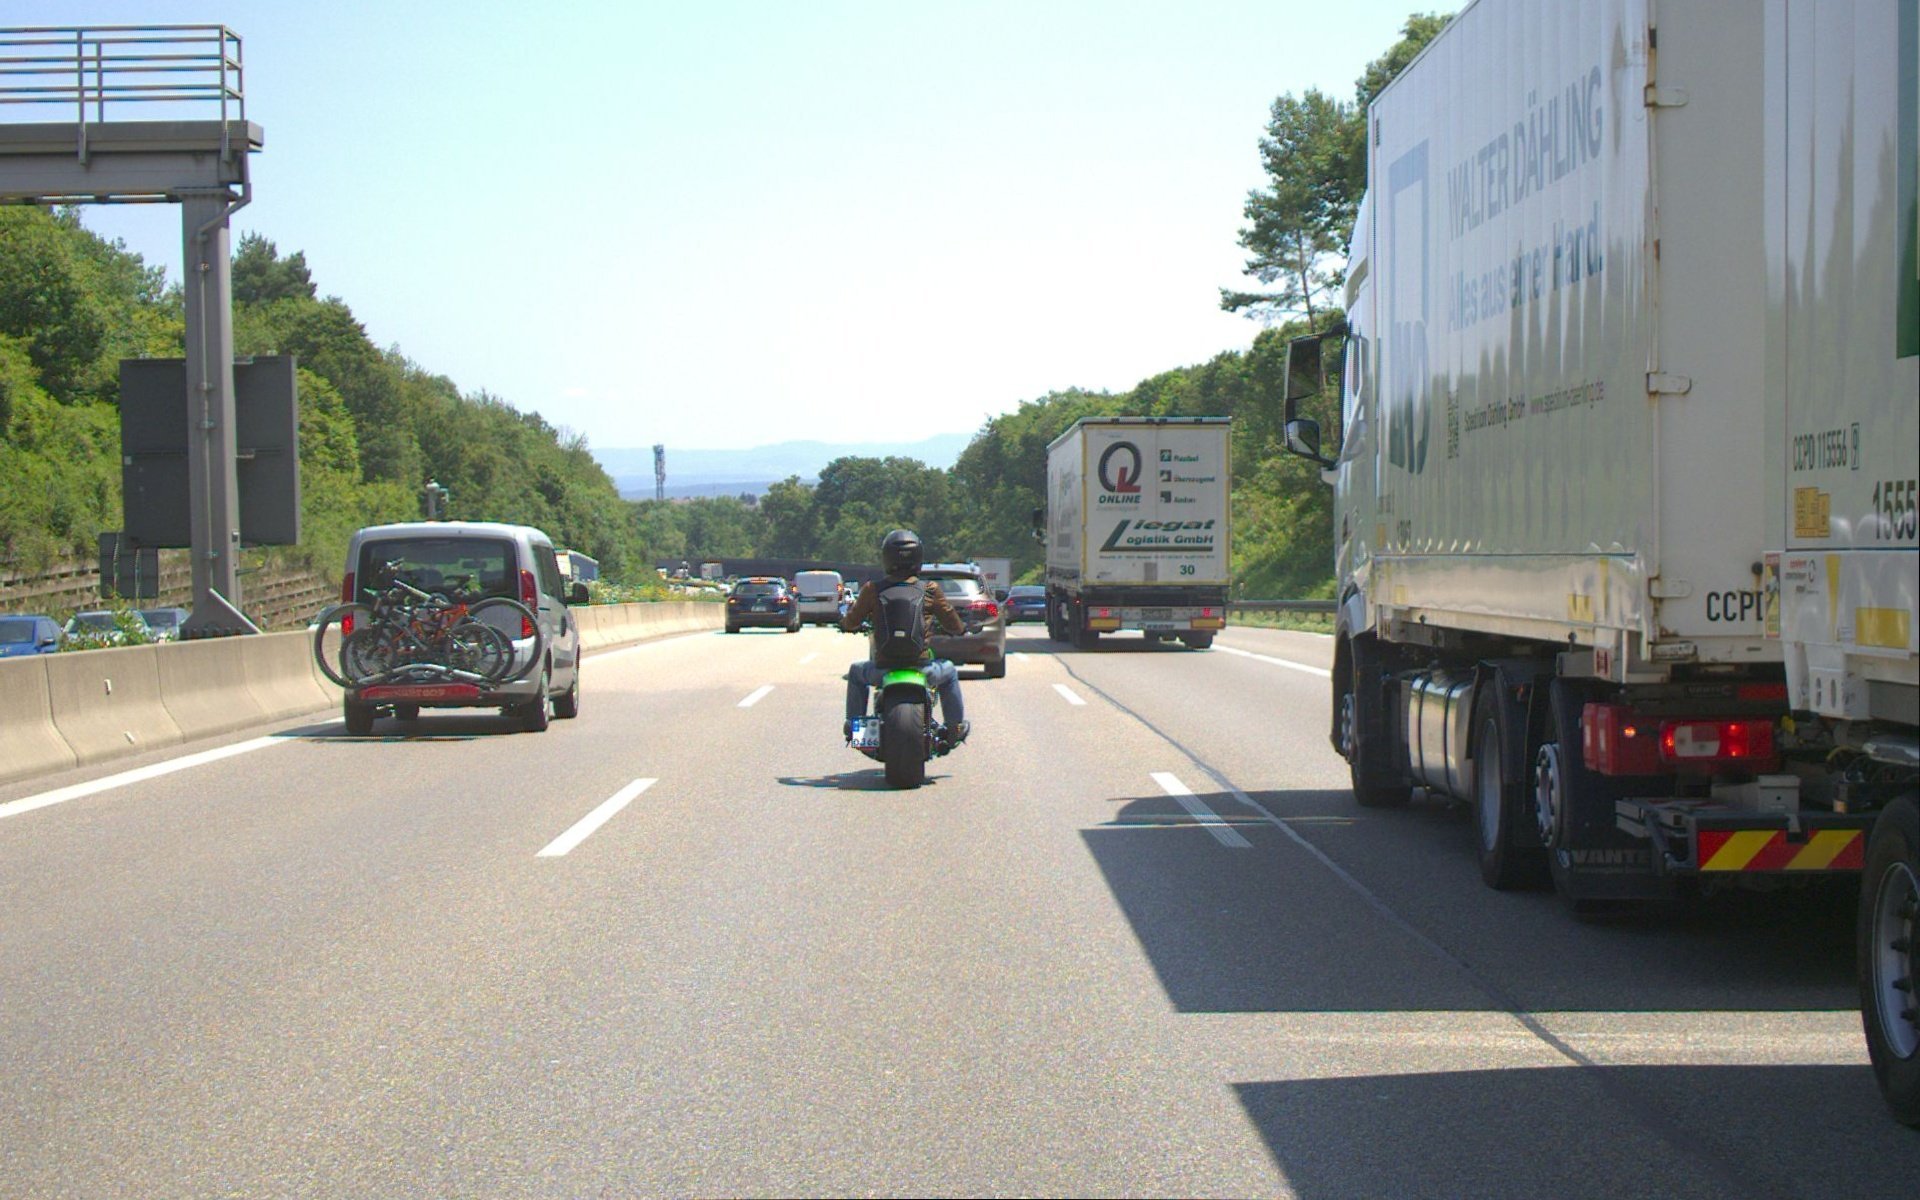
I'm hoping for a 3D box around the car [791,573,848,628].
[{"bbox_3d":[-4.786,-0.010,117.444,1.831,1.804,4.120,0,1,-1],"label":"car"}]

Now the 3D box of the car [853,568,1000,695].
[{"bbox_3d":[-0.458,0.381,45.537,1.845,1.552,4.440,0,1,-1],"label":"car"}]

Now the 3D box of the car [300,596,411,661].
[{"bbox_3d":[-15.717,0.716,89.682,1.961,1.490,5.888,-2,1,-2],"label":"car"}]

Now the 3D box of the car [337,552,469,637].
[{"bbox_3d":[-12.098,-0.154,75.037,1.997,1.681,5.996,-2,1,-2],"label":"car"}]

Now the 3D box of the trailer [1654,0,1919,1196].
[{"bbox_3d":[3.704,-0.607,6.316,2.680,4.161,10.066,0,1,-1],"label":"trailer"}]

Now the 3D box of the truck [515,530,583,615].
[{"bbox_3d":[-20.101,-1.352,168.436,2.680,4.017,5.931,-1,1,-1],"label":"truck"}]

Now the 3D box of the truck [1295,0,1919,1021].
[{"bbox_3d":[3.559,-0.686,16.743,2.680,4.046,10.626,0,1,-1],"label":"truck"}]

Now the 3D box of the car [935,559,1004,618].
[{"bbox_3d":[0.241,-0.336,94.986,1.831,1.553,4.120,0,1,-1],"label":"car"}]

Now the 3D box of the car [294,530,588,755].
[{"bbox_3d":[-4.563,0.341,30.997,1.898,1.841,5.483,0,0,-1],"label":"car"}]

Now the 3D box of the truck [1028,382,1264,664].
[{"bbox_3d":[3.307,-1.402,66.781,3.383,4.702,17.709,1,1,-1],"label":"truck"}]

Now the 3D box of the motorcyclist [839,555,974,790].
[{"bbox_3d":[-0.344,0.467,22.580,0.856,1.510,0.914,0,0,0],"label":"motorcyclist"}]

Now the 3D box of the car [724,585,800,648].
[{"bbox_3d":[-5.101,0.413,88.929,1.758,1.538,4.395,0,1,-1],"label":"car"}]

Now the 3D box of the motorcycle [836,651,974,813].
[{"bbox_3d":[-0.341,0.848,22.692,0.862,0.978,2.130,0,0,0],"label":"motorcycle"}]

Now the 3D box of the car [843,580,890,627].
[{"bbox_3d":[-3.736,0.145,138.148,1.831,1.804,4.120,0,1,-1],"label":"car"}]

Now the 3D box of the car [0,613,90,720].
[{"bbox_3d":[-15.690,1.081,56.518,1.707,1.599,4.199,-2,1,-1],"label":"car"}]

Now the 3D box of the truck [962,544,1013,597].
[{"bbox_3d":[1.763,-1.913,221.730,3.067,3.335,9.652,1,1,-1],"label":"truck"}]

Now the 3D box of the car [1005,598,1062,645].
[{"bbox_3d":[2.572,0.744,120.860,1.831,1.521,4.027,0,1,-1],"label":"car"}]

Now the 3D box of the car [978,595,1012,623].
[{"bbox_3d":[2.002,0.520,197.577,1.831,1.521,4.027,0,1,-1],"label":"car"}]
